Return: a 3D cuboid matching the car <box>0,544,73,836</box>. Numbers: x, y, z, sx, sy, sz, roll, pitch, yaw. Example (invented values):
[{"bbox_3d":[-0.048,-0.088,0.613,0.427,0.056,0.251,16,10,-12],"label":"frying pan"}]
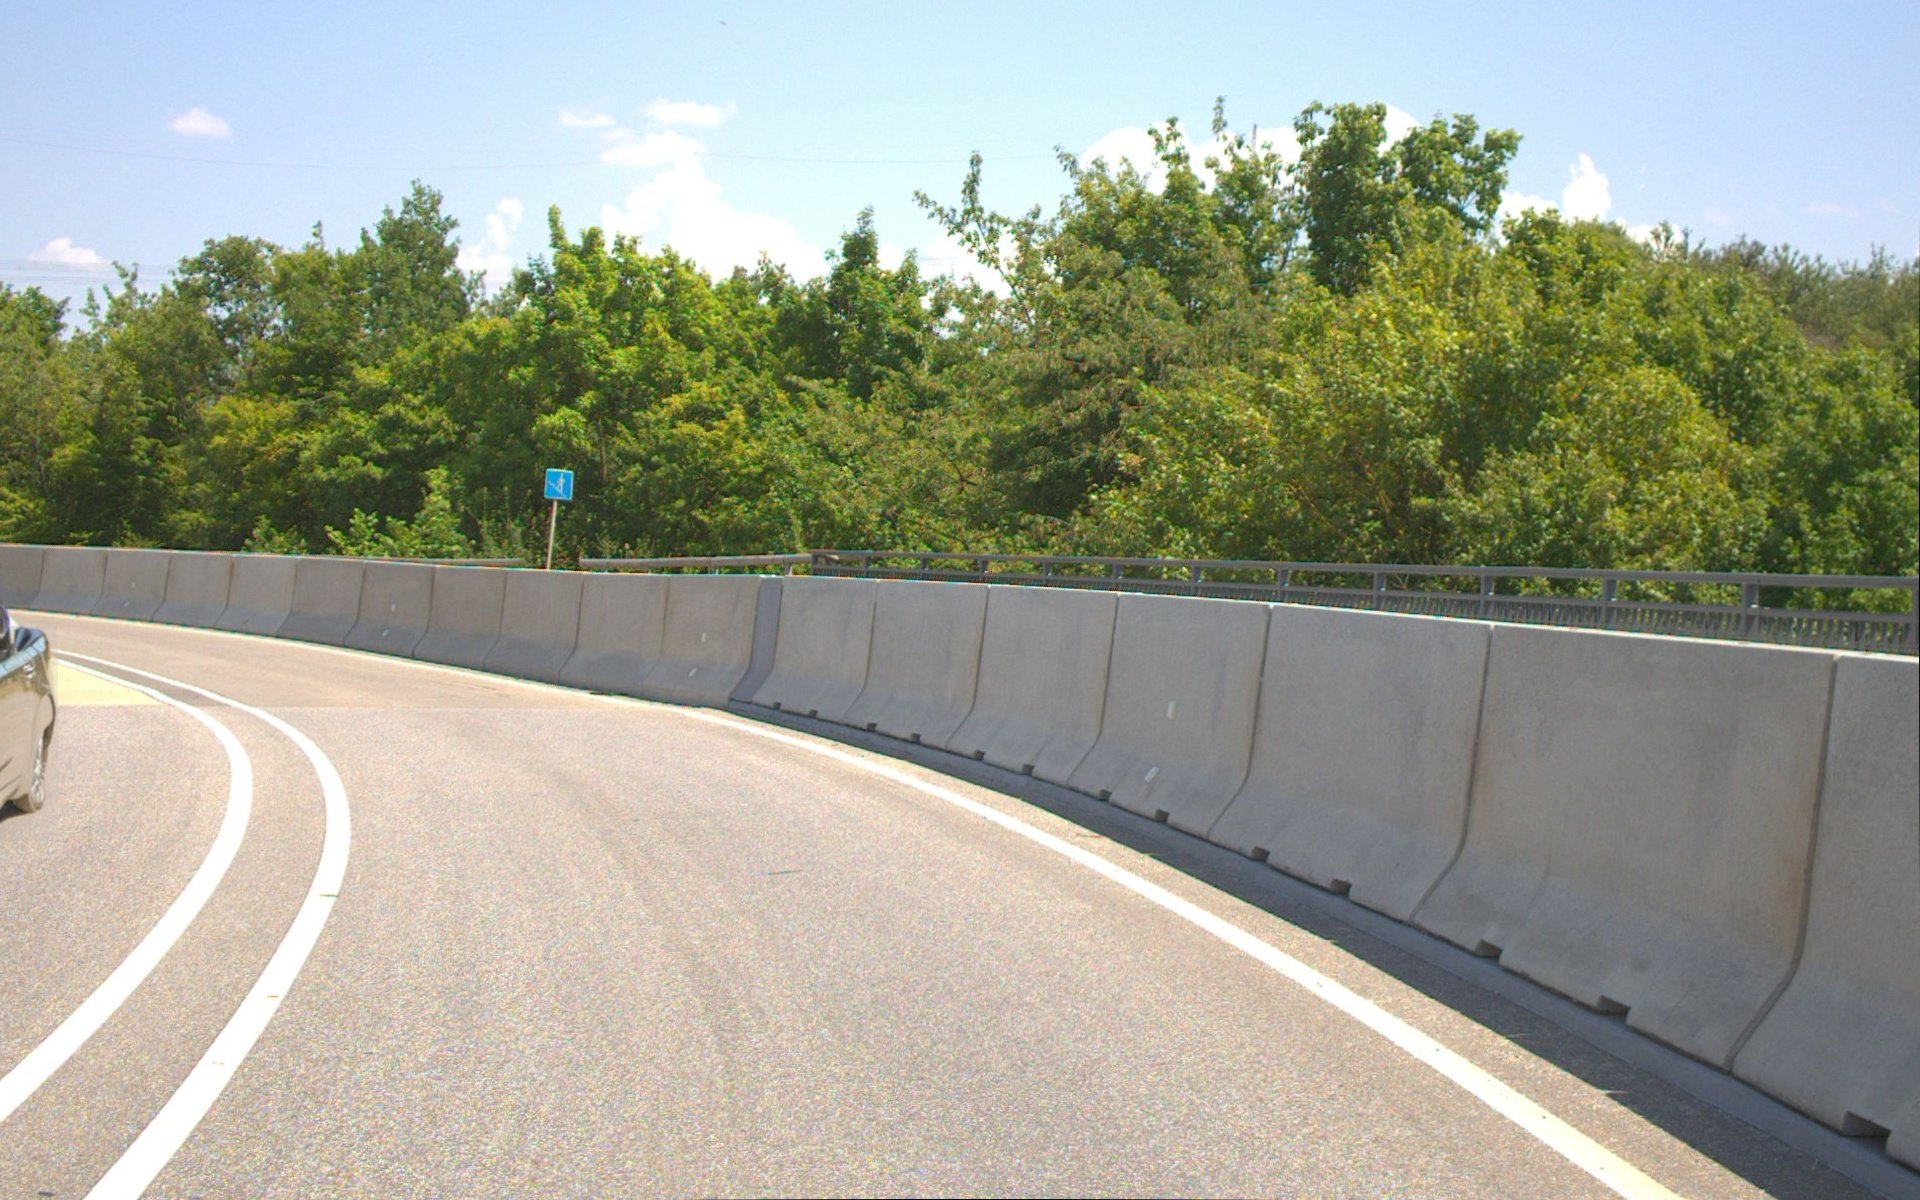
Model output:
[{"bbox_3d":[-5.896,0.428,18.555,1.742,1.454,4.368,0,1,-9],"label":"car"}]
